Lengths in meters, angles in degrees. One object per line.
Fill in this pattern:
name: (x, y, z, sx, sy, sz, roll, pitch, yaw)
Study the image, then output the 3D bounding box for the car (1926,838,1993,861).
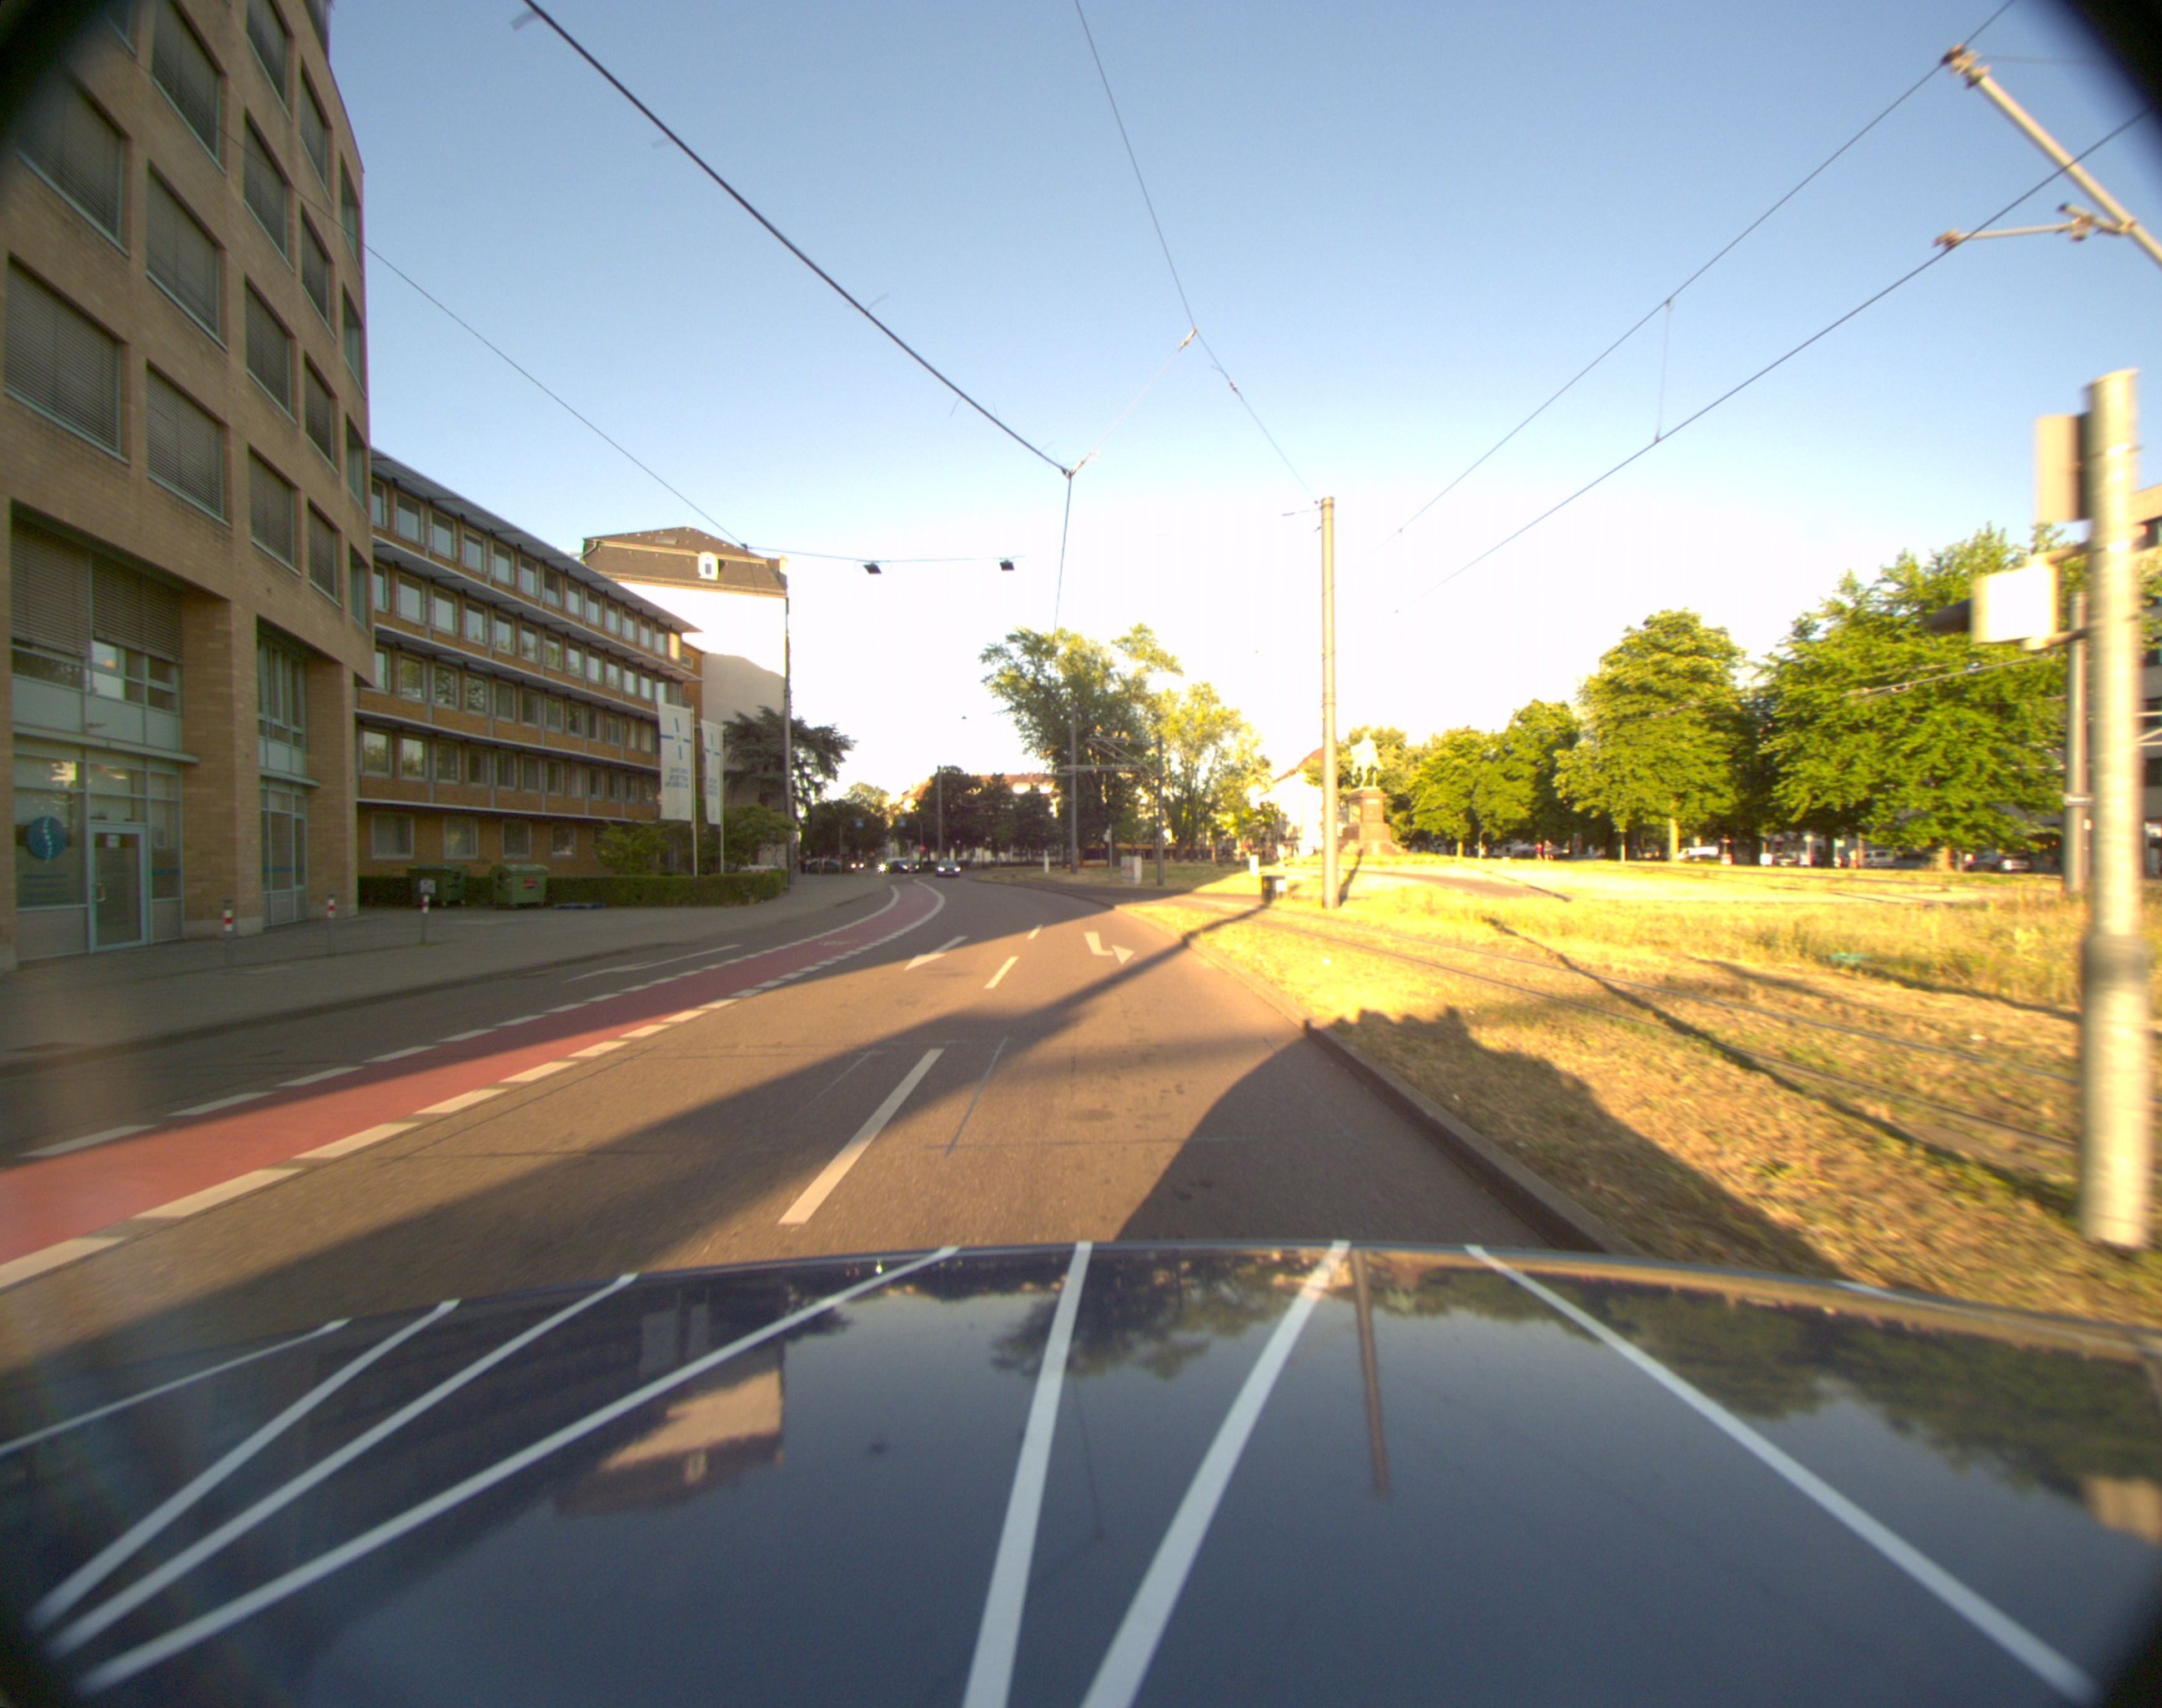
car: (71.497, -0.311, 61.938, 1.935, 1.784, 4.217, -1, -1, 24)

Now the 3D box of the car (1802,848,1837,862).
car: (83.183, 0.114, 85.655, 1.793, 1.570, 4.008, -1, -1, 28)

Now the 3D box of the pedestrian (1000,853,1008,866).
pedestrian: (-10.931, 0.778, 107.407, 0.767, 1.705, 0.787, -1, -1, 32)

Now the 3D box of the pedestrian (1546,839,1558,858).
pedestrian: (39.771, -0.472, 64.183, 0.619, 1.571, 0.553, 0, -1, 3)

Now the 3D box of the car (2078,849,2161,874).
car: (65.356, 0.479, 47.543, 1.861, 1.547, 4.076, -1, -1, 24)

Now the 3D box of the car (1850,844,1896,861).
car: (78.073, -0.127, 74.984, 1.755, 1.653, 4.007, -1, -1, 24)

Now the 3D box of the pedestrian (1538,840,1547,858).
pedestrian: (39.132, -0.439, 64.418, 0.453, 1.503, 0.553, 0, -1, 3)

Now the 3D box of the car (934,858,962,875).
car: (-11.556, 1.096, 65.886, 1.822, 1.473, 4.130, 0, -1, -18)

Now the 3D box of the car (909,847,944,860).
car: (-19.583, -0.040, 96.478, 4.067, 1.547, 1.865, 0, -1, -5)

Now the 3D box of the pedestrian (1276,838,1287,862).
pedestrian: (14.149, -0.284, 53.621, 0.476, 1.680, 0.835, 0, 0, -13)

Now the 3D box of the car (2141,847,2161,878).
car: (61.889, 0.446, 42.095, 1.755, 1.784, 4.217, -1, -1, 24)

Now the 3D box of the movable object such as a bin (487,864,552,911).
movable object such as a bin: (-17.747, 1.042, 24.038, 0.972, 1.429, 1.347, -1, -1, 20)

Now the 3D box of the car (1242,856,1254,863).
car: (36.239, 1.243, 164.739, 1.723, 1.542, 3.969, 0, -1, 2)

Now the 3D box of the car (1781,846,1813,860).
car: (86.034, -0.061, 91.289, 1.793, 1.570, 4.008, -1, -1, 28)

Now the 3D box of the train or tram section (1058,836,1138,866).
train or tram section: (2.393, -0.429, 95.517, 2.942, 3.563, 13.393, -1, 1, 35)

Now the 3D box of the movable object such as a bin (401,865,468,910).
movable object such as a bin: (-20.781, 1.074, 24.453, 1.345, 1.415, 0.924, 0, -1, -6)

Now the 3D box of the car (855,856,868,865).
car: (-37.051, 1.044, 128.290, 1.822, 1.473, 4.131, -1, -1, -13)

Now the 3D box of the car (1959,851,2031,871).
car: (63.998, 0.499, 53.298, 1.707, 1.382, 4.008, -1, -1, 26)

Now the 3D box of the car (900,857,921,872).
car: (-17.024, 1.057, 75.943, 1.822, 1.473, 4.130, 0, -1, -16)

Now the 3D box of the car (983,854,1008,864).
car: (-14.419, 0.867, 128.884, 4.011, 1.714, 1.702, 0, -1, 0)

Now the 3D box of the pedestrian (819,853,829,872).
pedestrian: (-24.608, 0.813, 72.758, 0.591, 1.781, 0.822, 0, -1, 12)

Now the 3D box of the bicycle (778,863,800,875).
bicycle: (-25.659, 1.288, 66.793, 1.858, 1.066, 0.428, 0, -1, -21)

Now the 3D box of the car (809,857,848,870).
car: (-30.355, 1.099, 91.398, 4.403, 1.548, 1.835, 0, -1, -19)

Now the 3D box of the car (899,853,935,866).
car: (-25.739, 0.862, 119.265, 5.077, 2.010, 1.968, 0, -1, 3)

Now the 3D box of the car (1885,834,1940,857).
car: (74.378, -0.760, 68.032, 1.755, 1.932, 4.217, -1, -1, 24)

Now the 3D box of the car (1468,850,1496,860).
car: (69.435, 0.206, 131.605, 3.998, 1.695, 1.859, 0, -1, -2)

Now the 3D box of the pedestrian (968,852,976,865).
pedestrian: (-17.949, 0.733, 124.827, 0.827, 2.001, 1.011, -1, -1, 31)

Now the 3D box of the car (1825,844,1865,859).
car: (80.304, -0.242, 79.925, 1.793, 1.570, 4.008, -1, -1, 28)

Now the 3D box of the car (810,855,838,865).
car: (-42.797, 1.034, 126.627, 4.404, 1.603, 1.726, 0, -1, -21)

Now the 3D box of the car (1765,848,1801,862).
car: (80.878, 0.132, 87.562, 1.861, 1.547, 4.076, -1, -1, 24)

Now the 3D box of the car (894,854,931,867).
car: (-25.793, 0.959, 116.273, 5.077, 1.891, 2.122, 0, -1, 3)

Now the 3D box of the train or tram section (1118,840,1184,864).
train or tram section: (9.999, -0.308, 106.281, 2.924, 3.123, 12.882, -1, 1, 36)

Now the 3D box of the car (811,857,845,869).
car: (-31.888, 1.128, 95.780, 4.071, 1.560, 1.835, 0, -1, -18)

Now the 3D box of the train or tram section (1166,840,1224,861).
train or tram section: (17.641, -0.592, 116.505, 2.918, 3.123, 12.671, -1, 1, 38)

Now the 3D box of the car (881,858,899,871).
car: (-22.541, 1.270, 89.673, 1.822, 1.473, 4.130, 0, -1, -18)

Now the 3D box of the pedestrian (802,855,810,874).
pedestrian: (-24.372, 0.926, 67.324, 0.578, 1.699, 0.720, 0, -1, -17)
